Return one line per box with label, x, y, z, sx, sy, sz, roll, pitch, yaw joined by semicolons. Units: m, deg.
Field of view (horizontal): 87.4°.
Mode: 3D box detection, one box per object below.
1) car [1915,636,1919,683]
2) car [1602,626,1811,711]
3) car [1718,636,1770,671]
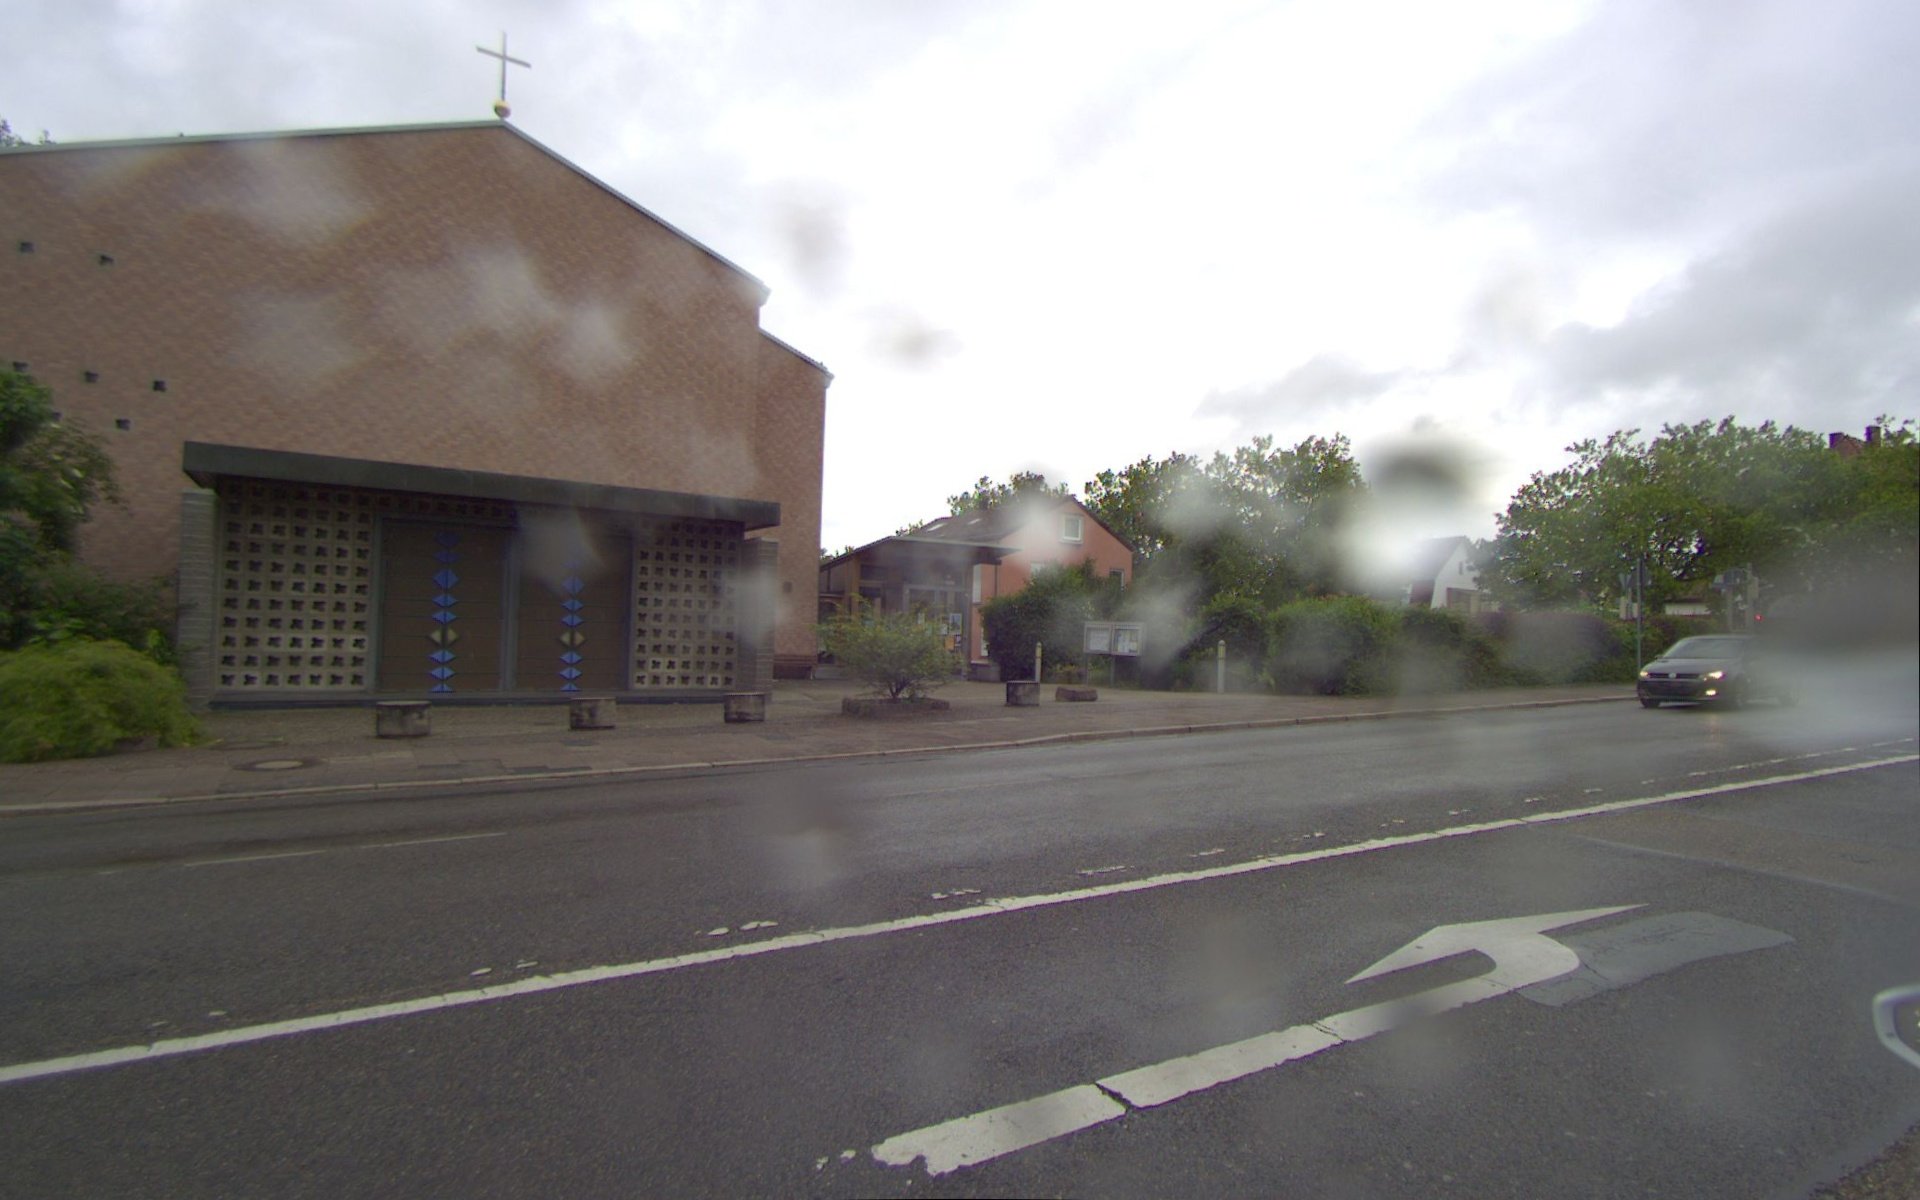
car;28.674;1.663;28.068;3.952;1.305;1.834;1;-1;-29
car;15.065;1.306;20.257;3.906;1.530;1.985;1;-1;-29
car;38.620;2.600;49.508;1.969;1.572;3.983;0;-1;38
